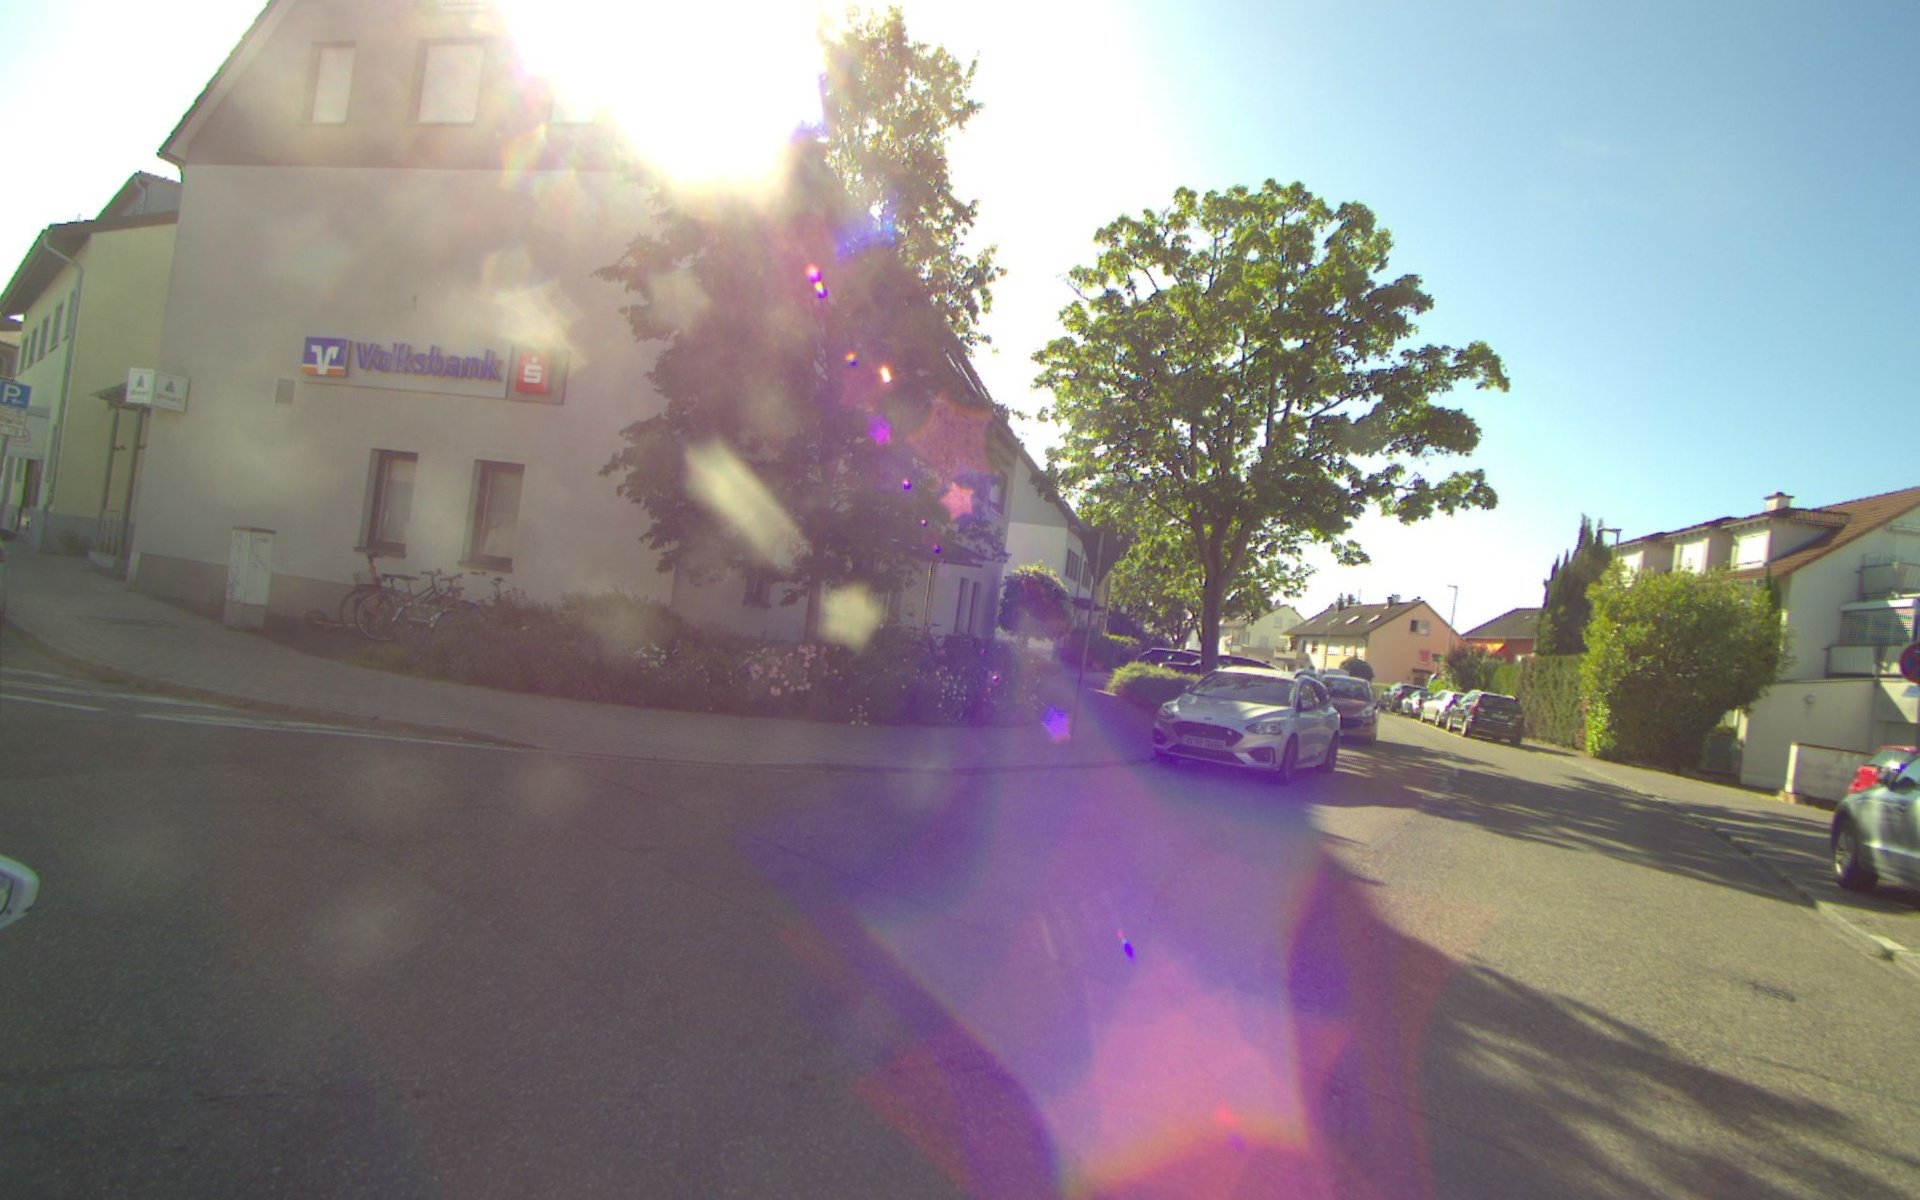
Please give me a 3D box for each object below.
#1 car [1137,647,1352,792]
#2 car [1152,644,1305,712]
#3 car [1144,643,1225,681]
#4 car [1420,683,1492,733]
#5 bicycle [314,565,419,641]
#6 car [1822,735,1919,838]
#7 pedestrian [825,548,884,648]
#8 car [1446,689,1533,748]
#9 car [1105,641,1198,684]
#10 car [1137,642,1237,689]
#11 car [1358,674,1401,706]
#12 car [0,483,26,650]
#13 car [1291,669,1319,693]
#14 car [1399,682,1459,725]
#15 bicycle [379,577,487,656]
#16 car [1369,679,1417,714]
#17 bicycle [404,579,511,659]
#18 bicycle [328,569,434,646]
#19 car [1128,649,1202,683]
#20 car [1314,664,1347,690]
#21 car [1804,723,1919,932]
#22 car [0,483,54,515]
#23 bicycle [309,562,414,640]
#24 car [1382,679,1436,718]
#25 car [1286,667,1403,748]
[{"bbox_3d":[4.213,1.632,14.395,1.784,1.512,4.298,8,-1,31],"label":"car"},{"bbox_3d":[7.991,2.308,30.046,3.935,1.426,1.796,7,-1,33],"label":"car"},{"bbox_3d":[12.143,3.349,54.446,3.926,1.426,1.800,8,0,21],"label":"car"},{"bbox_3d":[19.274,4.161,39.229,1.666,1.517,3.726,6,-1,15],"label":"car"},{"bbox_3d":[-8.396,0.052,14.246,1.159,0.931,0.309,8,0,-42],"label":"bicycle"},{"bbox_3d":[17.503,3.385,17.231,3.652,1.517,1.700,6,-1,14],"label":"car"},{"bbox_3d":[-2.285,-0.029,21.886,0.753,2.038,0.774,7,0,24],"label":"pedestrian"},{"bbox_3d":[17.658,3.909,33.724,1.666,1.517,3.726,6,-1,15],"label":"car"},{"bbox_3d":[9.101,2.969,47.782,3.926,1.426,1.800,8,0,21],"label":"car"},{"bbox_3d":[9.922,2.852,43.902,3.926,1.426,1.800,8,0,21],"label":"car"},{"bbox_3d":[24.225,5.171,58.194,1.666,1.517,3.726,6,-1,15],"label":"car"},{"bbox_3d":[-11.010,-0.601,10.221,4.446,1.531,1.843,7,-1,44],"label":"car"},{"bbox_3d":[26.926,6.290,78.576,1.666,1.517,3.726,8,-1,15],"label":"car"},{"bbox_3d":[20.630,4.514,44.386,1.666,1.517,3.726,6,-1,15],"label":"car"},{"bbox_3d":[-6.994,0.236,13.379,0.308,0.931,1.162,8,0,38],"label":"bicycle"},{"bbox_3d":[22.752,5.053,52.969,1.666,1.517,3.726,6,-1,15],"label":"car"},{"bbox_3d":[-6.629,0.264,13.302,0.308,0.931,1.162,8,0,38],"label":"bicycle"},{"bbox_3d":[-8.054,0.113,14.016,1.159,0.931,0.309,8,0,-42],"label":"bicycle"},{"bbox_3d":[12.178,3.932,59.749,3.926,1.426,1.800,8,0,21],"label":"car"},{"bbox_3d":[26.363,5.481,71.642,1.666,1.517,3.726,8,-1,15],"label":"car"},{"bbox_3d":[9.053,2.051,8.511,1.782,1.612,4.302,6,-1,26],"label":"car"},{"bbox_3d":[-56.046,-6.048,59.172,3.894,1.510,1.827,8,-1,-39],"label":"car"},{"bbox_3d":[-8.756,0.021,14.735,1.216,0.987,0.317,8,0,-36],"label":"bicycle"},{"bbox_3d":[21.711,4.736,48.755,1.666,1.517,3.726,6,-1,15],"label":"car"},{"bbox_3d":[9.273,2.535,24.052,1.784,1.512,4.298,8,-1,31],"label":"car"}]
